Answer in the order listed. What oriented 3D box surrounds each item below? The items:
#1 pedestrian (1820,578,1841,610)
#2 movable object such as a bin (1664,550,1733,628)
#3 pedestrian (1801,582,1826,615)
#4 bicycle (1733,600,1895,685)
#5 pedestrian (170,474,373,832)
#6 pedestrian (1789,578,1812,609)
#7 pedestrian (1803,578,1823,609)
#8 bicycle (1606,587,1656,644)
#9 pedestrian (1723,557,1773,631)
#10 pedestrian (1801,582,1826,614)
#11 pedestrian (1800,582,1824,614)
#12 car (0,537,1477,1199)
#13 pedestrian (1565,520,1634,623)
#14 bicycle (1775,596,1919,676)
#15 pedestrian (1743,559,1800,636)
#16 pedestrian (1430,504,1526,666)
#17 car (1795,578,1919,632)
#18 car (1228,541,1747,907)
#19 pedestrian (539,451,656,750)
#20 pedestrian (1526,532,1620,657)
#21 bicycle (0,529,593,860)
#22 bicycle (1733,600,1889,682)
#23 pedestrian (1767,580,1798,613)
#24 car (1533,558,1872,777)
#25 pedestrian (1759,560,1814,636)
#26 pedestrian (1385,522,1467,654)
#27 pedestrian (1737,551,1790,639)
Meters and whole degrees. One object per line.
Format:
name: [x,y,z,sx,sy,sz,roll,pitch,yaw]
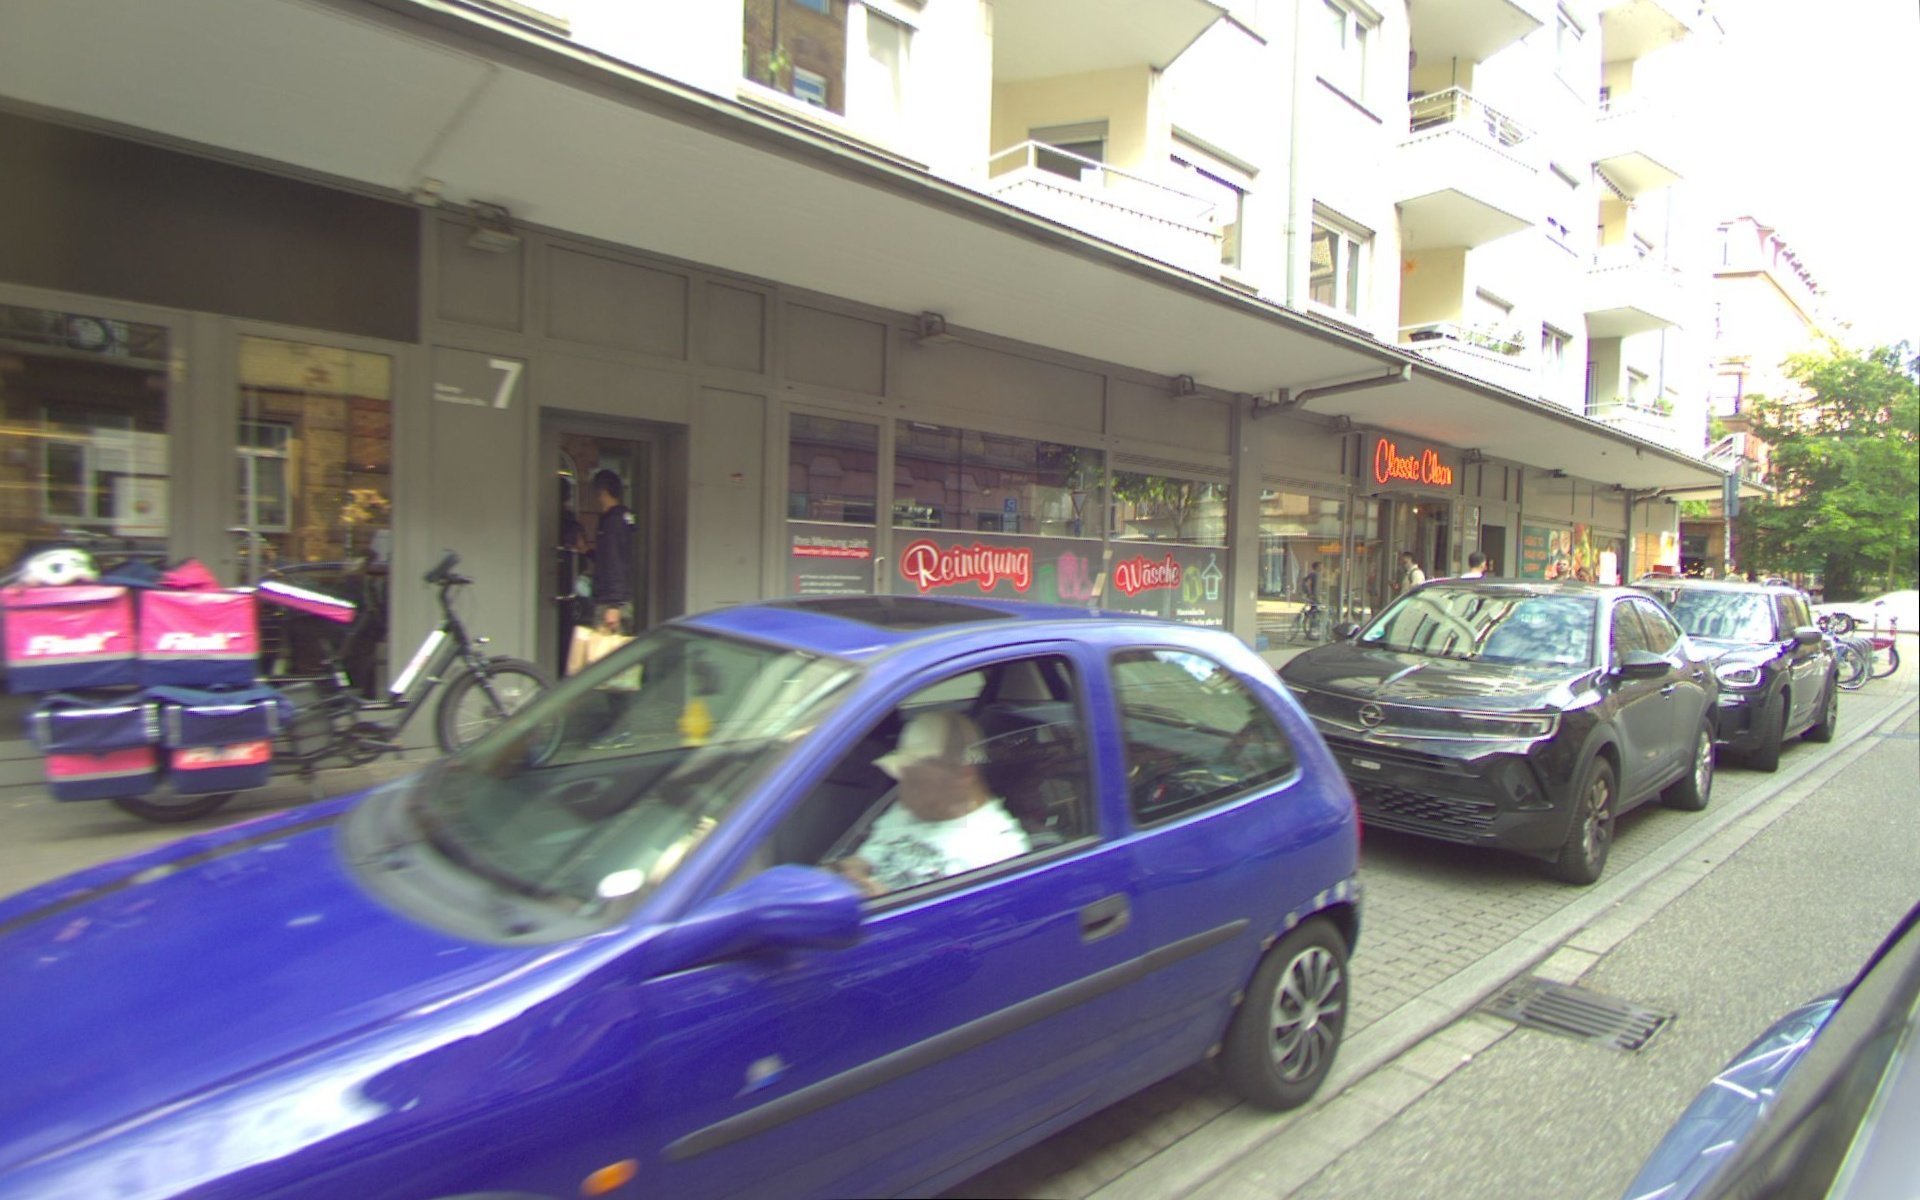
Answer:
pedestrian: [37.969,-0.275,44.138,0.462,1.343,0.617,2,3,24]
movable object such as a bin: [17.555,-0.279,24.025,2.381,1.766,0.781,0,2,-42]
pedestrian: [35.475,-0.075,42.069,0.725,1.332,0.514,1,1,37]
bicycle: [12.916,0.619,15.370,1.786,1.083,0.578,6,3,39]
pedestrian: [-3.419,0.219,5.019,0.767,1.607,0.645,0,4,-40]
pedestrian: [36.784,-0.305,44.298,0.543,1.316,0.617,2,3,25]
pedestrian: [37.790,-0.289,44.825,0.462,1.343,0.617,2,3,24]
bicycle: [13.962,0.300,21.097,0.672,1.055,1.717,3,3,29]
pedestrian: [20.181,-0.164,25.911,0.645,1.818,0.657,3,3,-29]
pedestrian: [35.820,-0.076,42.471,0.725,1.332,0.514,1,1,37]
pedestrian: [36.182,-0.107,42.994,0.725,1.332,0.600,1,1,37]
car: [-0.317,0.637,2.713,3.959,1.456,1.599,0,3,-41]
pedestrian: [10.779,-0.484,17.067,0.700,1.652,0.723,0,4,-43]
bicycle: [15.257,0.573,17.302,0.892,1.138,1.886,0,5,-43]
pedestrian: [20.156,-0.073,25.137,0.619,1.818,0.716,4,3,-9]
pedestrian: [5.910,-0.169,11.531,1.107,1.748,0.612,0,1,-43]
car: [30.223,0.168,32.534,4.783,1.617,1.929,2,1,24]
car: [3.509,0.511,6.404,3.836,1.596,1.691,0,3,-43]
pedestrian: [-2.413,-0.003,6.799,0.631,1.883,0.711,1,2,-12]
pedestrian: [9.203,-0.092,15.193,1.031,1.767,0.851,0,4,-44]
bicycle: [-3.270,0.353,5.140,2.456,1.306,0.920,0,4,-41]
bicycle: [13.302,0.615,15.889,1.786,1.083,0.561,6,3,39]
pedestrian: [35.096,-0.155,43.182,0.656,1.395,0.718,1,2,-7]
car: [7.171,0.489,9.640,3.856,1.625,1.796,0,3,-42]
pedestrian: [20.671,-0.075,25.330,0.704,1.818,0.630,5,3,14]
pedestrian: [6.558,-0.181,14.294,0.805,1.767,0.713,4,3,15]
pedestrian: [16.800,-0.118,21.159,0.762,1.775,0.916,3,2,41]
